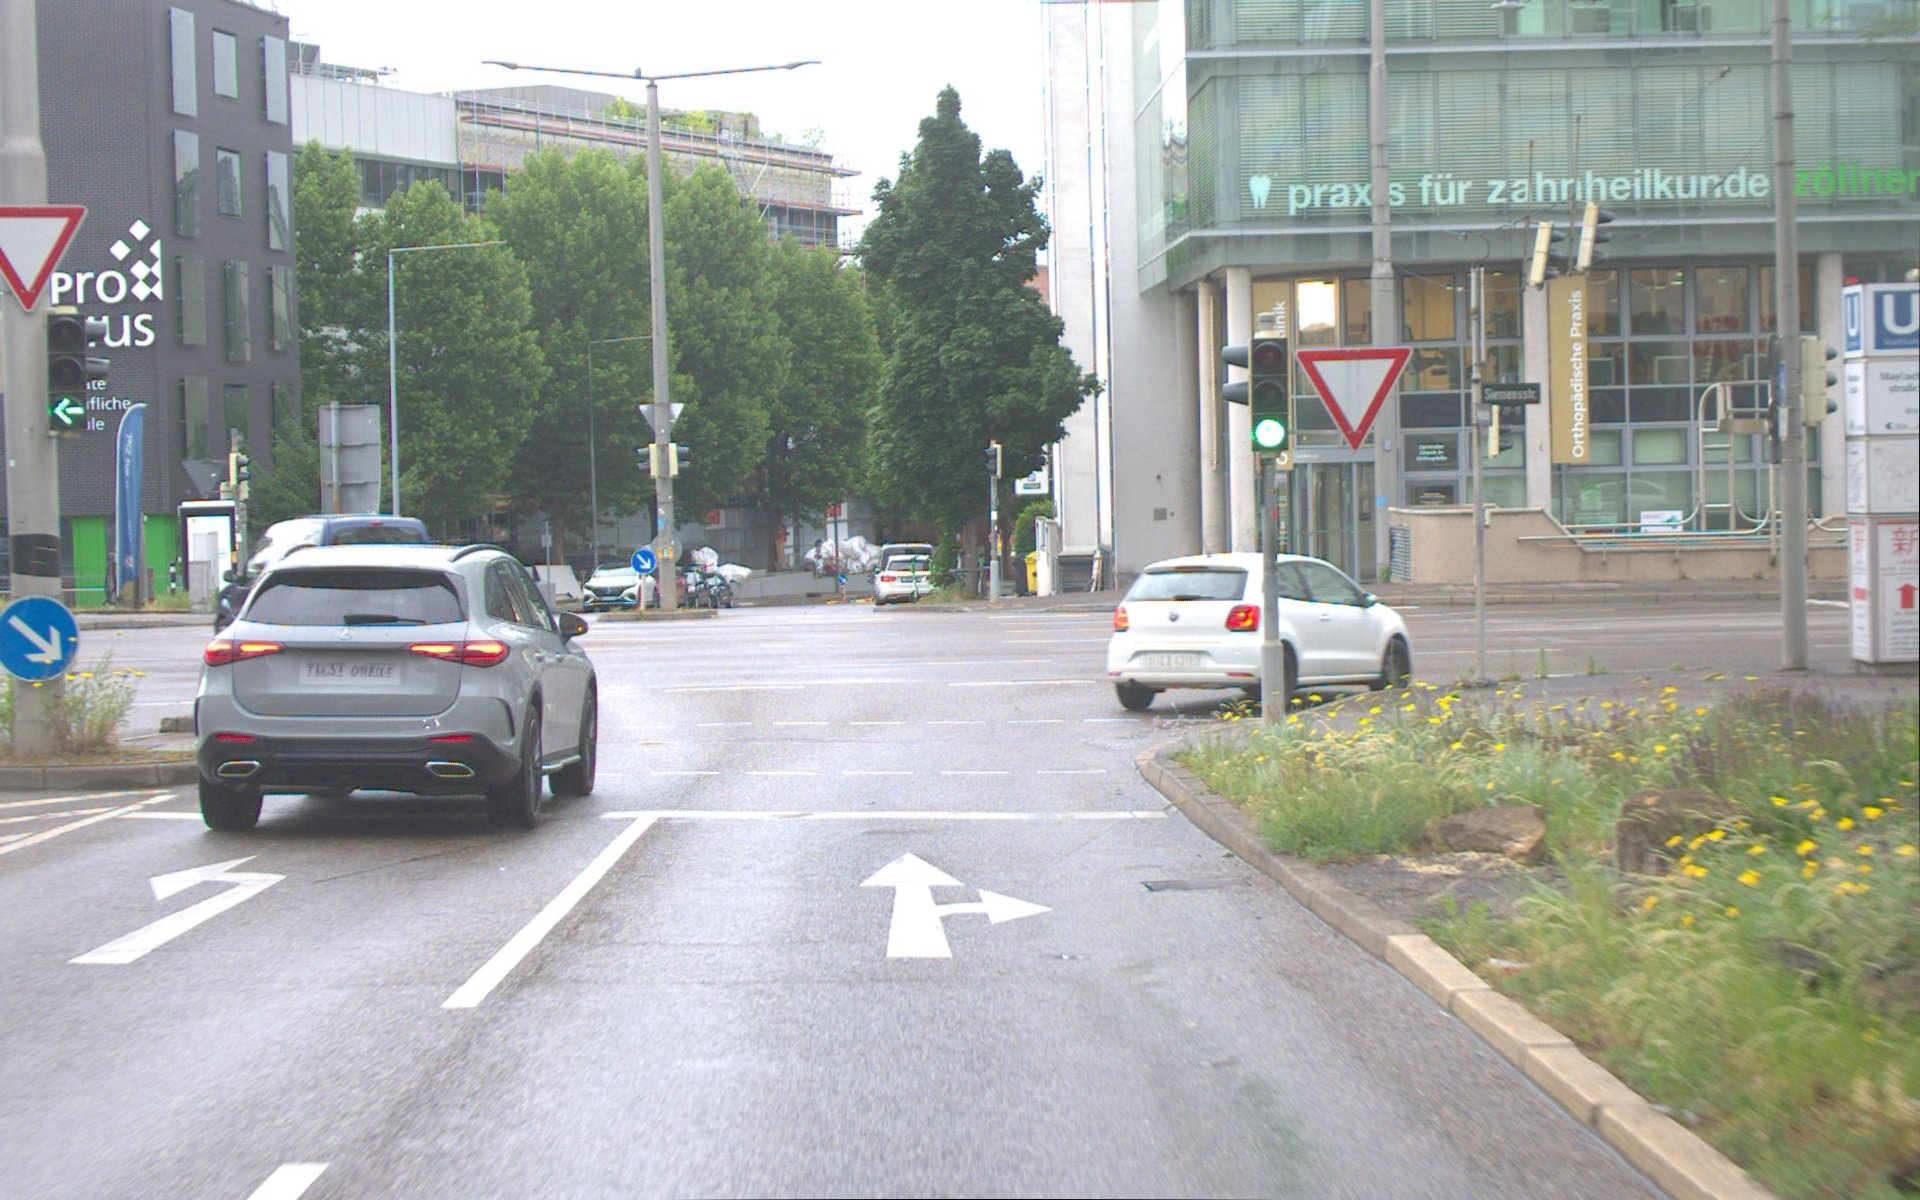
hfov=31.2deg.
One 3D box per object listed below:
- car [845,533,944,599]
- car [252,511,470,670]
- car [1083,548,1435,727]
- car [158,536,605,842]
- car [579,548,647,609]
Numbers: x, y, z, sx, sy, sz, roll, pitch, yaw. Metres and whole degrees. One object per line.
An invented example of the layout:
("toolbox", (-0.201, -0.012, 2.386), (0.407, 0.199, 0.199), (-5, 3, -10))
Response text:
("car", (-1.804, -0.895, 93.342), (1.993, 1.711, 4.001), (1, 0, -11))
("car", (-7.170, -0.131, 40.860), (1.852, 1.762, 4.132), (-1, 1, -20))
("car", (2.907, 0.310, 32.824), (1.674, 1.468, 3.772), (1, 3, 35))
("car", (-3.361, 0.471, 20.768), (1.908, 1.626, 4.210), (1, 0, 1))
("car", (-11.943, -0.730, 118.495), (1.993, 2.007, 4.000), (1, 0, -1))
